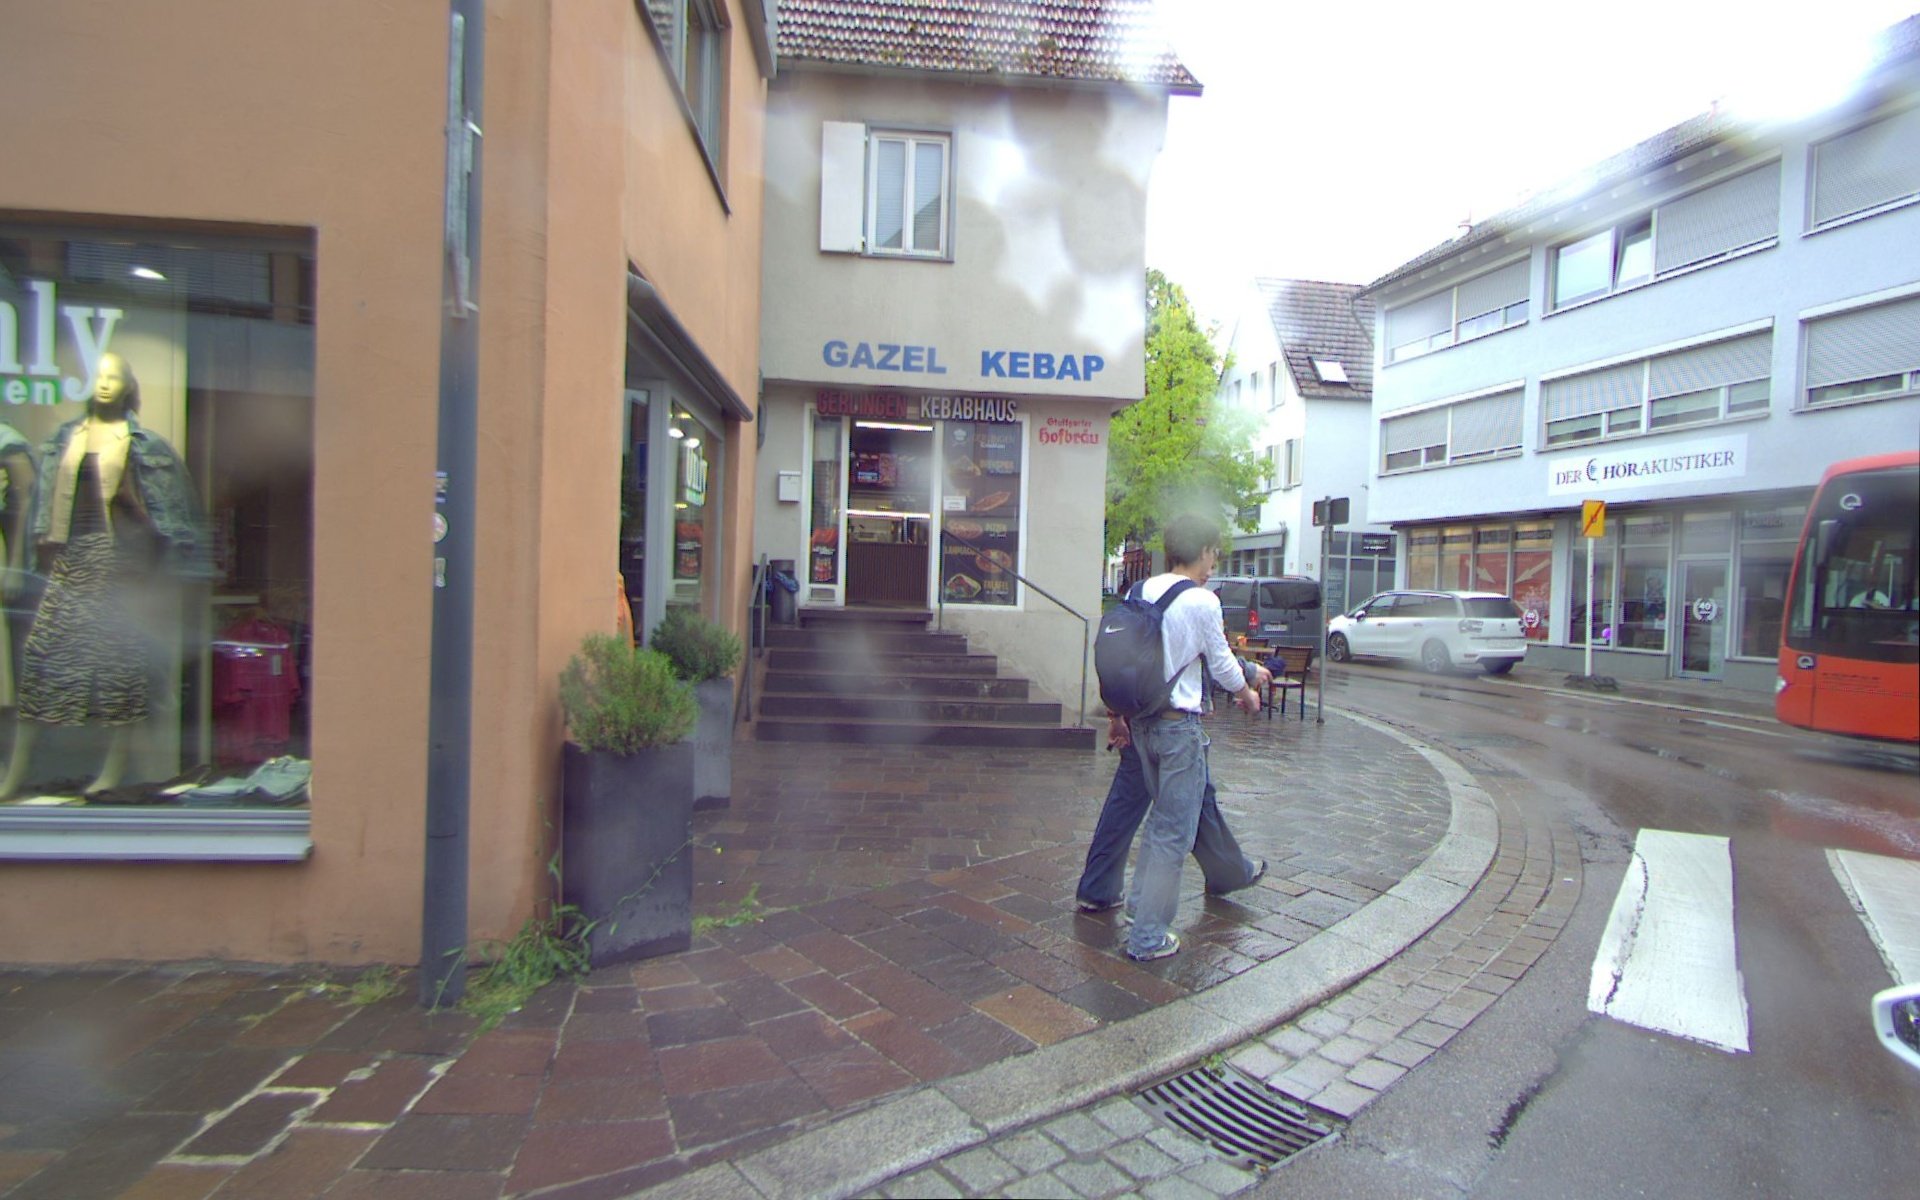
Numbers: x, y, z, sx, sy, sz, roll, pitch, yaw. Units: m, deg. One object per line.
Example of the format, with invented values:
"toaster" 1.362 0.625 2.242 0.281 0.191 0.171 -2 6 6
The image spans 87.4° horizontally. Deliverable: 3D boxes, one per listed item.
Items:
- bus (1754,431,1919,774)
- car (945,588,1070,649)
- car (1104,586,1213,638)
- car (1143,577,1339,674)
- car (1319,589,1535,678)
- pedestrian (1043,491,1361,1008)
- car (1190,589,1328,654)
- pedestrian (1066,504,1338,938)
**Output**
"bus" 12.087 0.176 6.508 2.792 3.129 10.511 3 0 -33
"car" 1.250 0.482 28.026 1.705 1.433 3.953 3 1 -27
"car" 6.291 0.349 32.218 1.771 1.515 3.846 2 0 -17
"car" 5.931 0.445 21.884 1.921 1.805 4.710 0 2 -16
"car" 9.691 0.622 21.236 1.667 1.634 4.207 1 1 -19
"pedestrian" 0.899 0.539 3.957 1.040 1.831 0.665 2 0 1
"car" 7.777 0.508 26.467 1.655 1.549 3.784 0 1 -17
"pedestrian" 1.070 0.519 4.649 1.037 1.824 0.694 2 0 1
